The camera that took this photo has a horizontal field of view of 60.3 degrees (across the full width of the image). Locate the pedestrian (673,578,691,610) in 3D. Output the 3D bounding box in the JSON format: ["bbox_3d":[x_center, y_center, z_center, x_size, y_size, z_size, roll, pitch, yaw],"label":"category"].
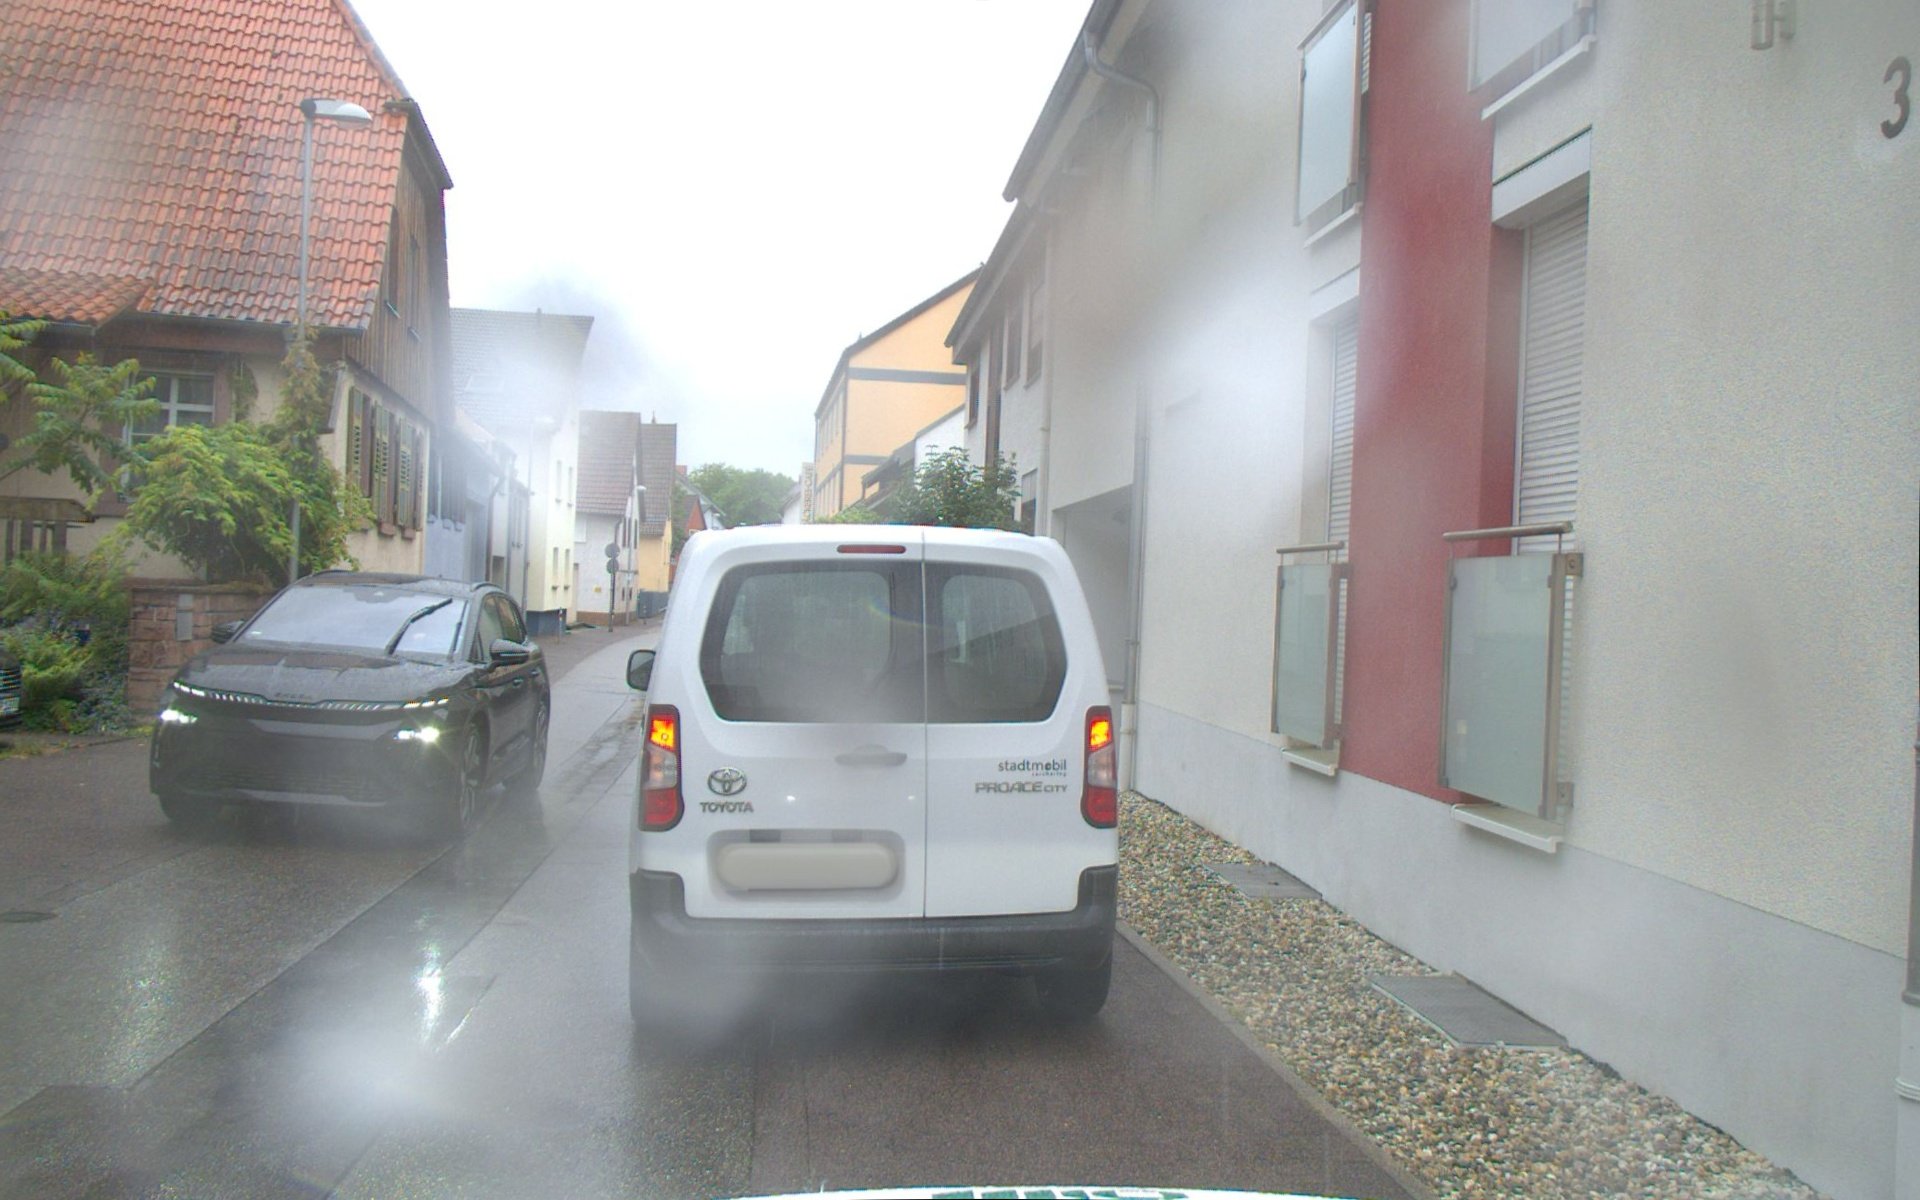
[{"bbox_3d":[-17.153,-0.359,102.086,1.031,1.926,0.875,1,-1,-9],"label":"pedestrian"}]

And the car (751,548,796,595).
[{"bbox_3d":[-8.569,-1.292,76.112,1.955,2.049,3.995,1,0,-6],"label":"car"}]

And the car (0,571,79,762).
[{"bbox_3d":[-9.394,0.313,12.949,3.908,1.450,1.735,7,-1,-1],"label":"car"}]

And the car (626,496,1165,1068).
[{"bbox_3d":[-0.495,0.594,7.361,1.742,1.811,3.991,1,0,-9],"label":"car"}]

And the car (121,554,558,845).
[{"bbox_3d":[-4.001,0.572,11.450,1.797,1.583,4.233,2,0,-7],"label":"car"}]

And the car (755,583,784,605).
[{"bbox_3d":[-13.161,-0.393,113.895,1.747,1.419,3.990,1,0,-10],"label":"car"}]

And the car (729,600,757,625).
[{"bbox_3d":[-13.468,0.749,102.330,1.532,1.503,3.990,1,0,-10],"label":"car"}]
